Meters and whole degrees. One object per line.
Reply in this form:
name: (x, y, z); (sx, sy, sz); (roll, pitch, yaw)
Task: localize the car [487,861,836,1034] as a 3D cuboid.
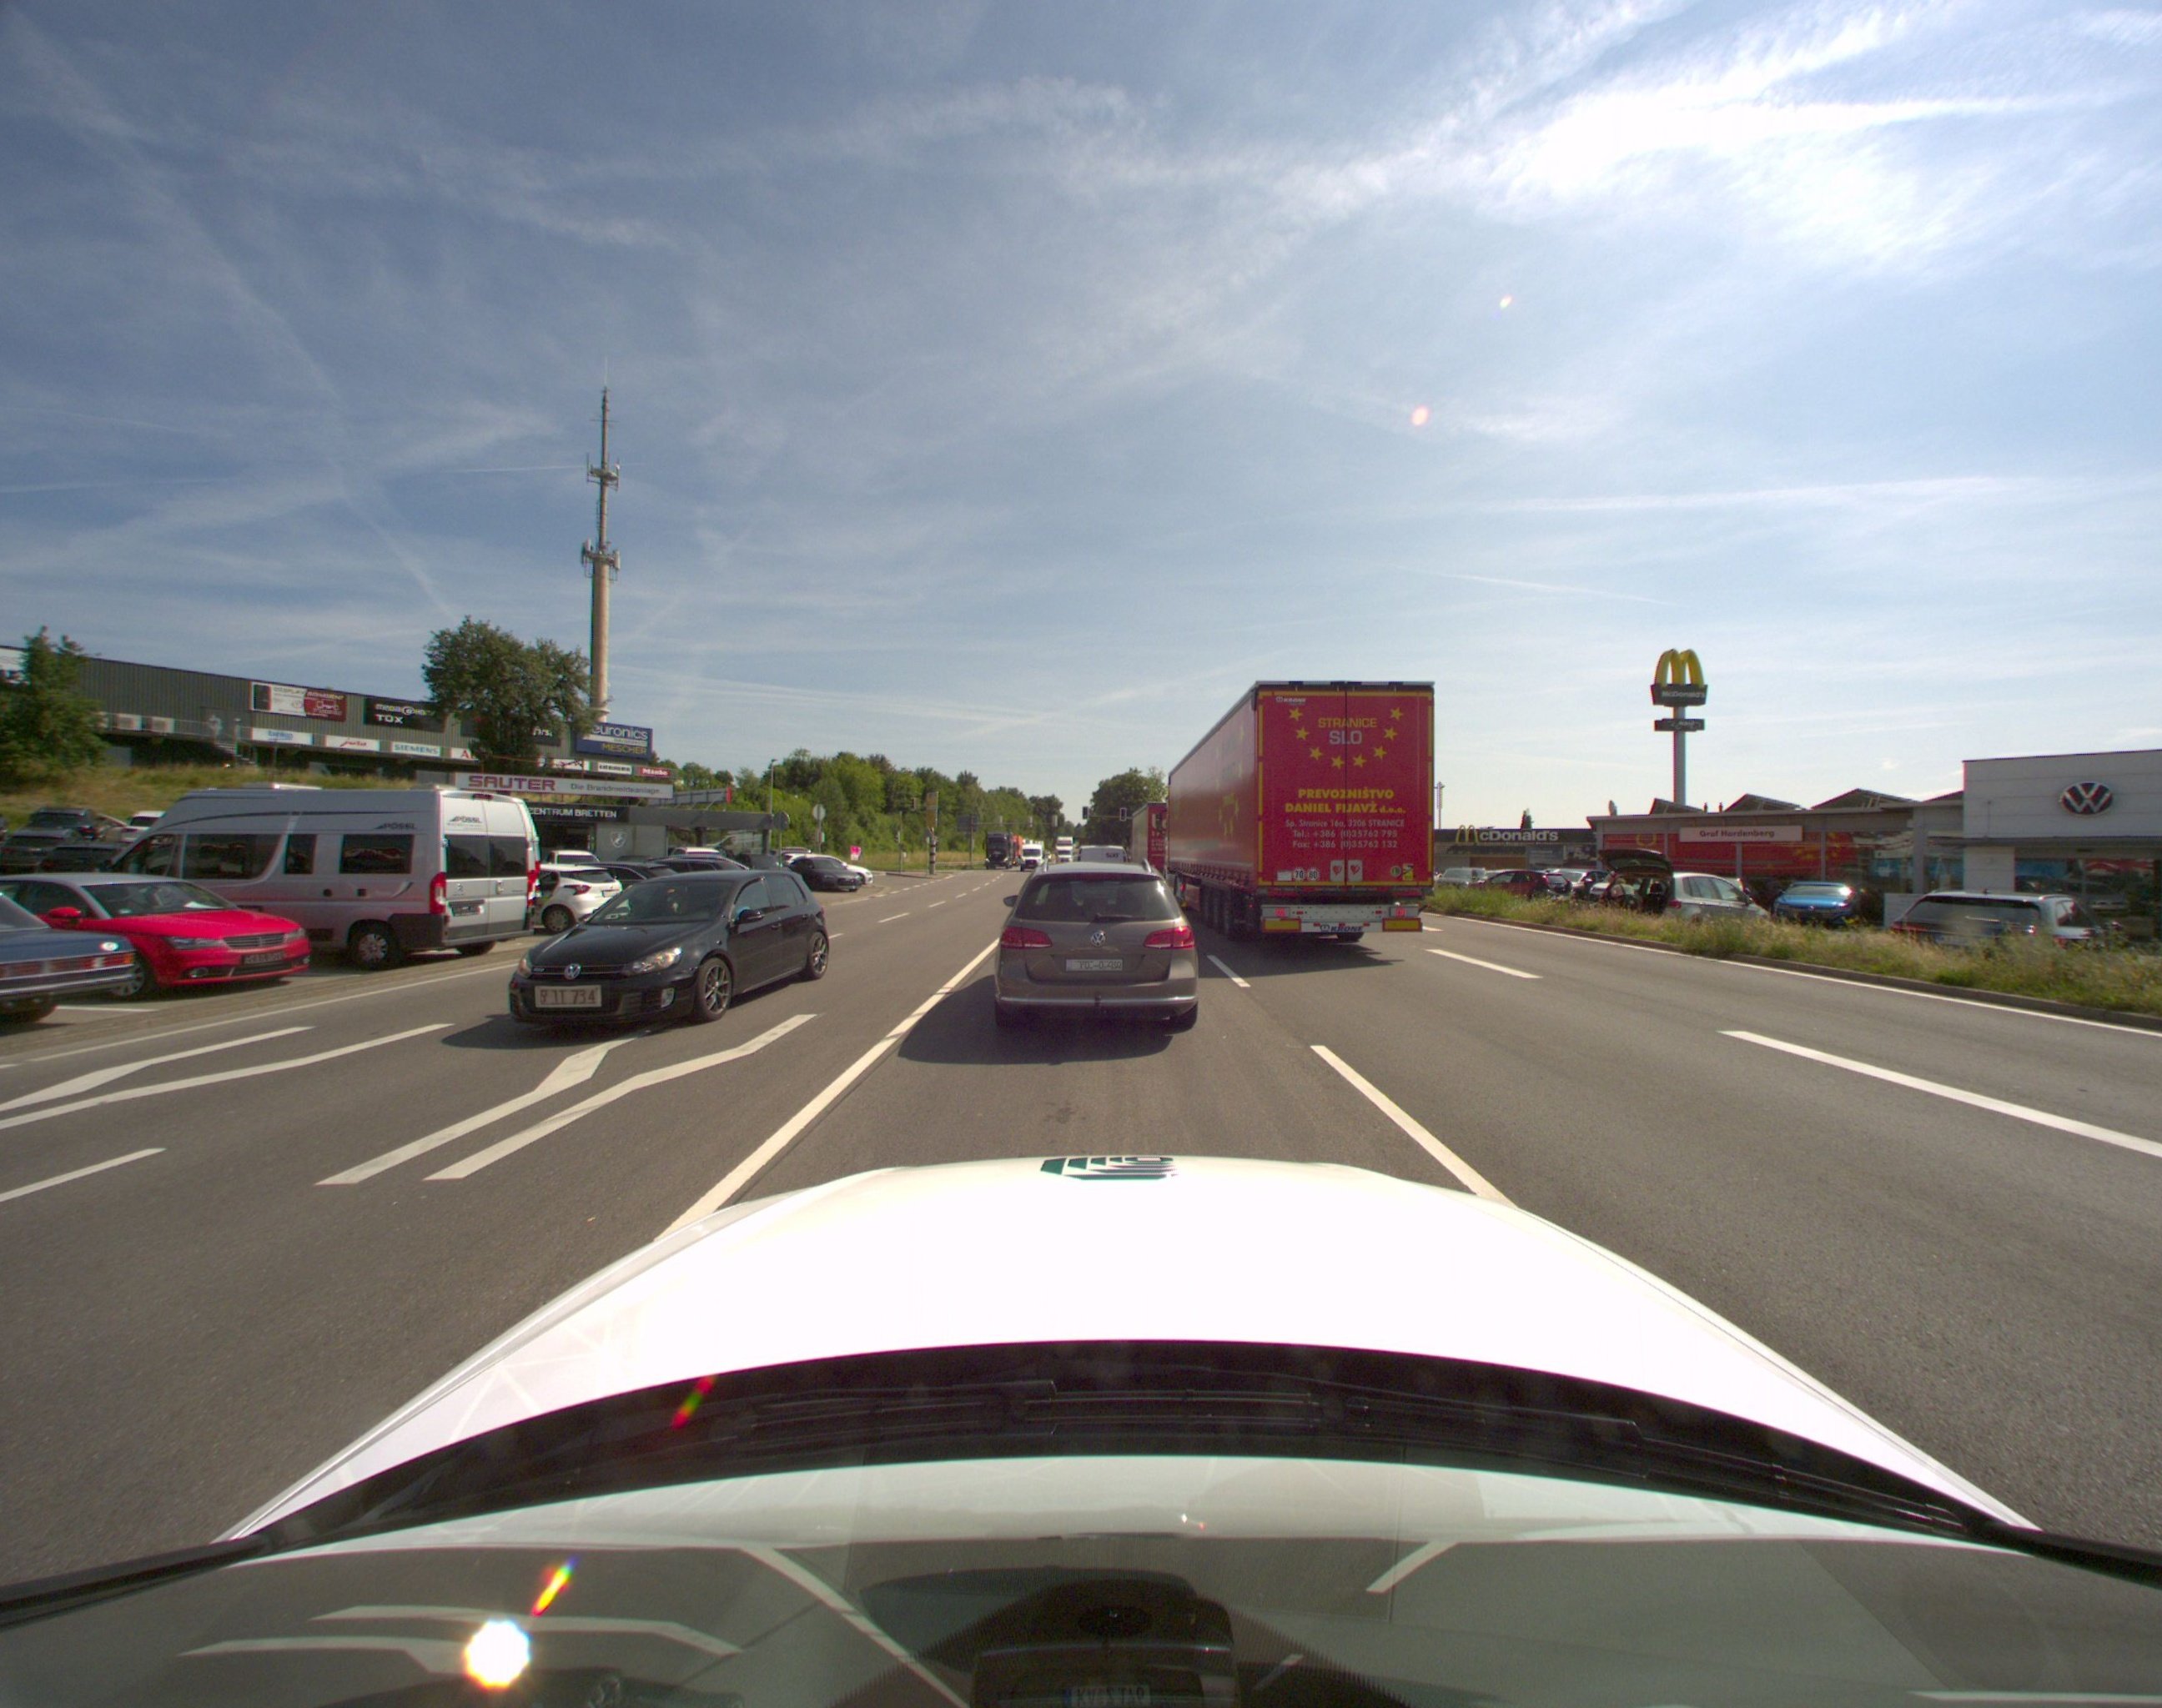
car: (-4.235, 0.829, 9.029); (1.659, 1.409, 3.928); (-2, 0, 2)

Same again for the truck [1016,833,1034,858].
truck: (-8.854, -1.256, 128.711); (2.527, 3.786, 6.982); (-2, 0, -3)

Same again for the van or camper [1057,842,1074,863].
van or camper: (-2.157, -0.189, 113.225); (2.216, 2.841, 5.711); (0, -1, 1)

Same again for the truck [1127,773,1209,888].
truck: (4.399, -1.072, 45.265); (3.051, 5.220, 17.009); (0, 0, 1)

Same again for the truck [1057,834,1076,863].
truck: (-2.274, -0.822, 127.954); (2.544, 4.307, 7.596); (-2, 0, 1)

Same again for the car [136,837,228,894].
car: (-27.287, 0.330, 24.698); (3.780, 1.588, 1.780); (-1, 0, 41)

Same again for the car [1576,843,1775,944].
car: (12.426, 0.749, 17.008); (3.851, 1.921, 1.689); (0, 0, -24)

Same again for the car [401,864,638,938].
car: (-12.022, 0.969, 17.631); (3.804, 1.448, 1.842); (-1, 0, 0)

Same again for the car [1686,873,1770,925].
car: (21.843, 1.445, 27.439); (1.781, 1.531, 4.251); (0, 0, 44)

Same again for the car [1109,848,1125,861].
car: (4.159, 0.063, 94.339); (1.721, 1.519, 3.312); (0, -1, 0)

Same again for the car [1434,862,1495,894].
car: (19.673, 1.198, 41.711); (1.747, 1.531, 3.651); (0, 0, 44)

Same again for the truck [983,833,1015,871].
truck: (-8.623, -0.251, 86.540); (2.805, 3.786, 6.985); (-2, 0, -2)

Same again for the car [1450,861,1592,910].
car: (15.295, 1.041, 28.509); (2.005, 1.531, 3.964); (0, 0, -28)

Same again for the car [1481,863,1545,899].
car: (20.084, 1.204, 37.827); (1.666, 1.531, 3.618); (0, 0, 44)

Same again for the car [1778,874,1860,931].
car: (23.191, 1.448, 25.542); (3.808, 1.557, 1.682); (0, 0, -44)

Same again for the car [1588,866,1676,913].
car: (20.047, 1.233, 29.570); (1.975, 1.531, 4.023); (0, 0, 44)

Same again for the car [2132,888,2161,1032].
car: (12.700, 1.058, 8.177); (3.849, 1.399, 1.690); (0, 0, -22)

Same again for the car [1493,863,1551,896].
car: (22.379, 1.254, 41.281); (1.666, 1.531, 3.618); (0, 0, 44)

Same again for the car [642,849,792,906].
car: (-11.231, 0.701, 25.317); (3.804, 1.675, 1.842); (-1, 0, 0)

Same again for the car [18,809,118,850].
car: (-40.014, -0.929, 32.267); (1.745, 1.450, 3.705); (1, -1, -40)

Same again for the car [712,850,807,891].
car: (-13.891, 0.684, 35.161); (3.780, 1.693, 1.854); (-1, 0, 30)

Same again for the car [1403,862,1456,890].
car: (20.053, 1.234, 46.803); (1.743, 1.531, 3.285); (0, 0, 44)

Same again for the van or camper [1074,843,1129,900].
van or camper: (0.704, 0.585, 29.452); (1.846, 1.906, 3.784); (0, 0, 0)

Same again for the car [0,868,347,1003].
car: (-11.878, 0.964, 10.270); (3.580, 1.480, 1.813); (-1, 0, 2)

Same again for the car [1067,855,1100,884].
car: (0.160, 0.860, 45.325); (1.720, 1.519, 3.313); (0, -1, 2)

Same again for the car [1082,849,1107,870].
car: (1.041, 0.418, 61.017); (1.720, 1.519, 3.314); (0, -1, 3)

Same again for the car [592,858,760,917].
car: (-11.383, 0.924, 23.087); (3.804, 1.539, 1.842); (-1, 0, 0)

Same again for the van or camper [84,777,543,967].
van or camper: (-11.867, 0.266, 12.895); (5.225, 2.731, 2.212); (0, 0, 2)

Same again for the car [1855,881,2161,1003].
car: (13.076, 1.117, 11.365); (3.844, 1.399, 1.692); (0, 0, -18)

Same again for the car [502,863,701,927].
car: (-11.786, 0.974, 20.222); (3.804, 1.448, 1.842); (-1, 0, 0)

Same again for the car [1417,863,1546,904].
car: (15.541, 1.099, 31.688); (4.148, 1.455, 1.858); (0, 0, 43)

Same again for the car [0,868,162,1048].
car: (-11.415, 0.877, 7.547); (3.696, 1.484, 1.707); (3, 0, -1)

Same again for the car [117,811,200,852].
car: (-38.474, -0.887, 34.049); (1.745, 1.537, 3.705); (1, -1, -40)

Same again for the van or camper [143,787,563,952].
van or camper: (-13.488, 0.270, 15.406); (5.871, 2.873, 2.290); (0, 0, 1)

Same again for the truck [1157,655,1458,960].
truck: (3.944, -0.664, 19.671); (2.946, 4.269, 16.586); (0, 0, 1)

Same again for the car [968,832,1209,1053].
car: (0.182, 0.675, 7.842); (1.782, 1.638, 3.508); (-1, 0, 4)

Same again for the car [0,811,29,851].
car: (-41.804, -0.863, 30.777); (1.745, 1.450, 3.705); (1, -1, -40)

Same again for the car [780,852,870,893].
car: (-11.528, 0.814, 36.566); (2.143, 1.693, 4.473); (-1, 0, -43)
